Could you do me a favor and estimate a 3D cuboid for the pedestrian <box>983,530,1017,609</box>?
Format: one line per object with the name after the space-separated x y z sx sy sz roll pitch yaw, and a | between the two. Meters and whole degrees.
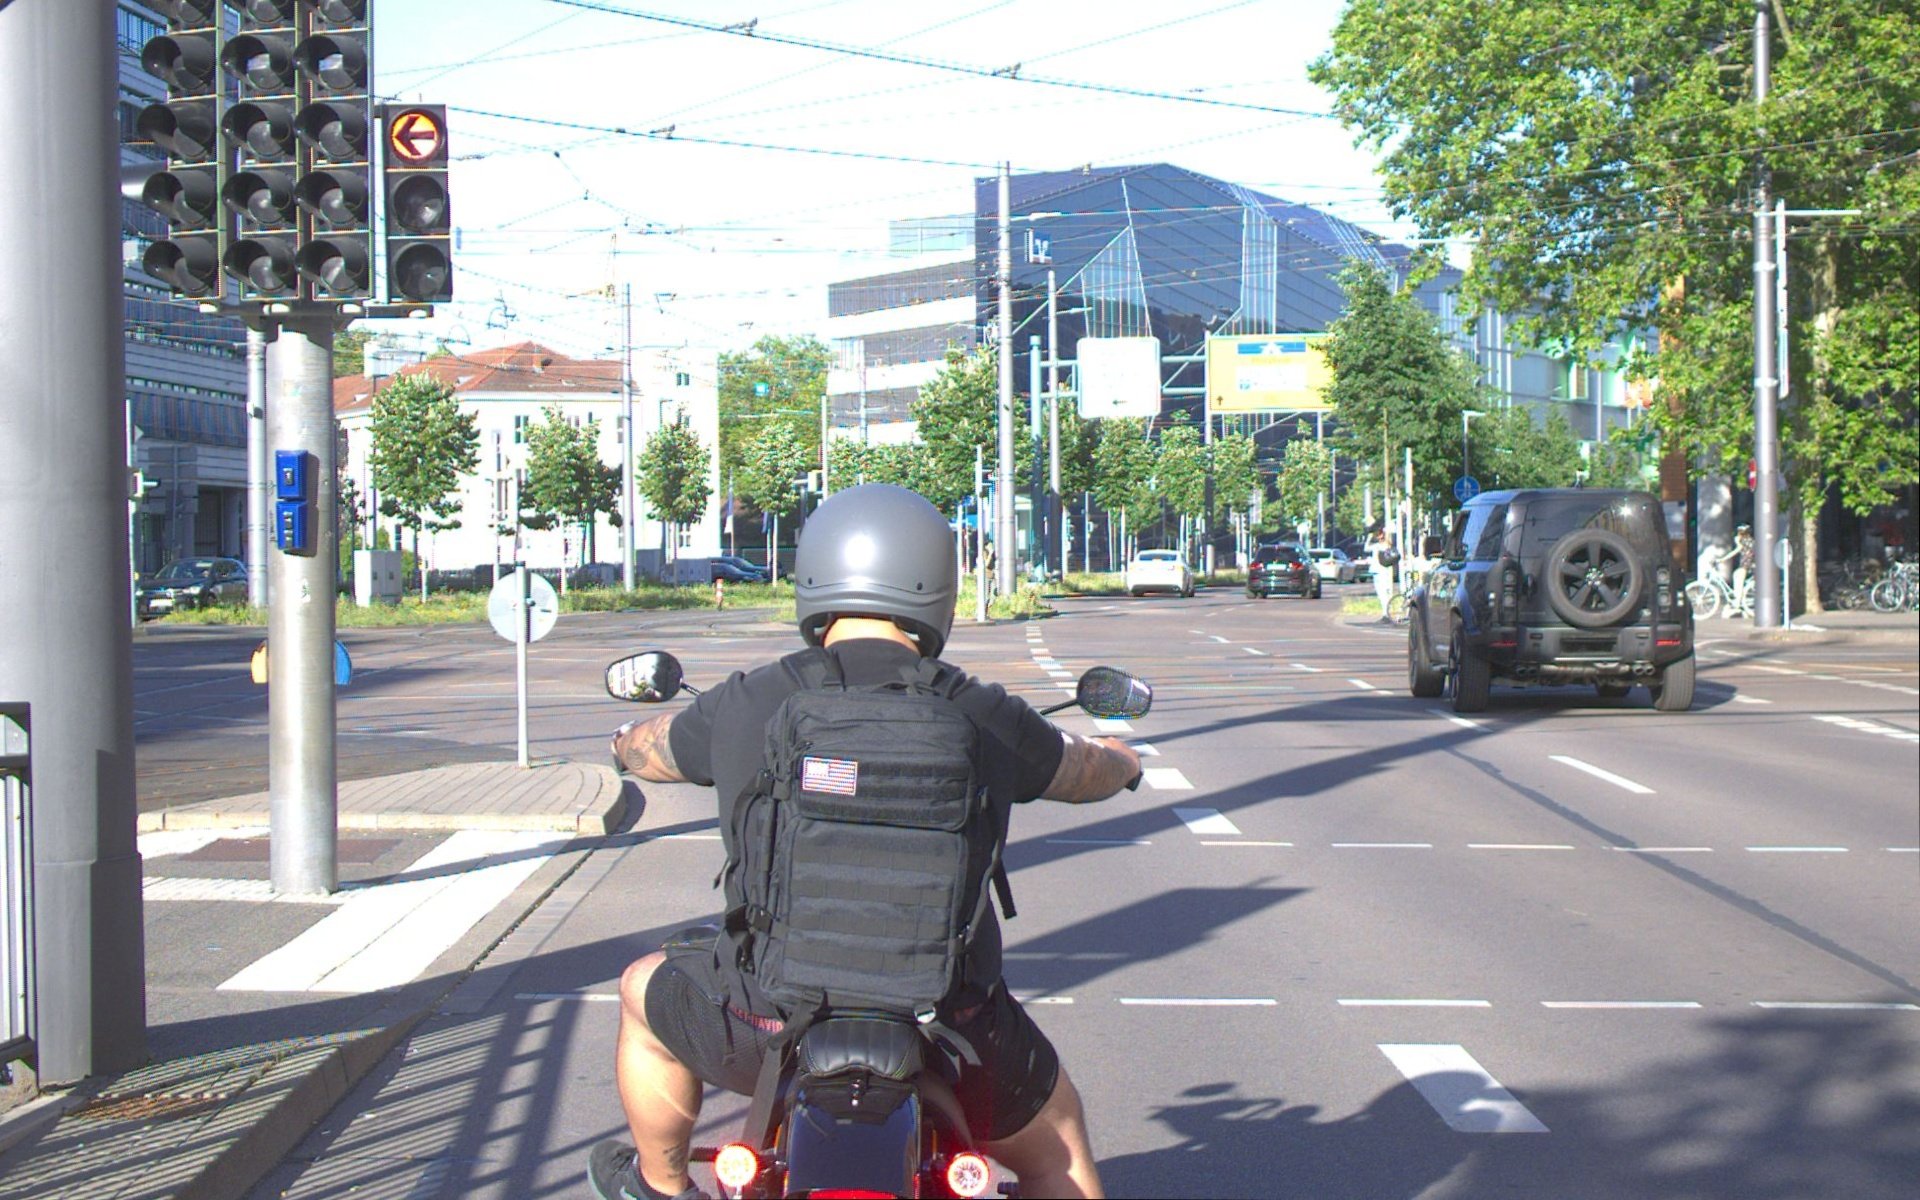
0.805 -0.618 69.508 0.657 1.577 0.489 0 1 3 | pedestrian

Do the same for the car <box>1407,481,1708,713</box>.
5.156 -0.046 30.219 2.053 1.867 4.226 1 1 2 | car

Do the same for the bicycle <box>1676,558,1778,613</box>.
14.538 -0.275 65.191 1.853 1.018 0.516 -1 0 12 | bicycle

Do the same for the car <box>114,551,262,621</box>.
-17.612 -0.339 78.645 1.792 1.461 4.309 -1 2 10 | car

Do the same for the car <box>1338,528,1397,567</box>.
17.529 -2.259 147.832 1.722 1.651 3.750 0 1 20 | car

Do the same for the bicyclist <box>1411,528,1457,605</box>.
9.248 -0.651 67.122 0.743 1.498 0.569 -1 0 23 | bicyclist

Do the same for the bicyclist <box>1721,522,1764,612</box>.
14.817 -0.620 65.118 0.743 1.689 0.570 -1 0 11 | bicyclist

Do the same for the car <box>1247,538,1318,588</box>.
9.693 -1.101 103.202 1.842 1.459 3.999 1 1 9 | car

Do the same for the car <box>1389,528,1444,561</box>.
20.731 -2.521 156.036 1.722 1.479 3.750 0 1 20 | car

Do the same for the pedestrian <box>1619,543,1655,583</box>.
17.862 -0.980 90.678 0.785 1.053 0.813 0 1 22 | pedestrian

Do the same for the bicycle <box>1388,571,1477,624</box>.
9.223 -0.053 67.123 1.629 1.018 0.516 -1 0 23 | bicycle

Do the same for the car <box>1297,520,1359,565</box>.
15.032 -2.367 140.392 1.820 1.811 3.940 0 1 17 | car

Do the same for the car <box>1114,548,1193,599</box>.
5.886 -0.807 104.105 1.902 1.503 3.998 1 1 10 | car

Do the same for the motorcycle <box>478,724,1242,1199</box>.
-0.150 0.839 5.721 1.005 1.121 2.323 1 1 -1 | motorcycle

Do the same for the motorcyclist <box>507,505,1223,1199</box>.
-0.149 0.631 5.618 1.022 1.547 1.286 1 1 -1 | motorcyclist
